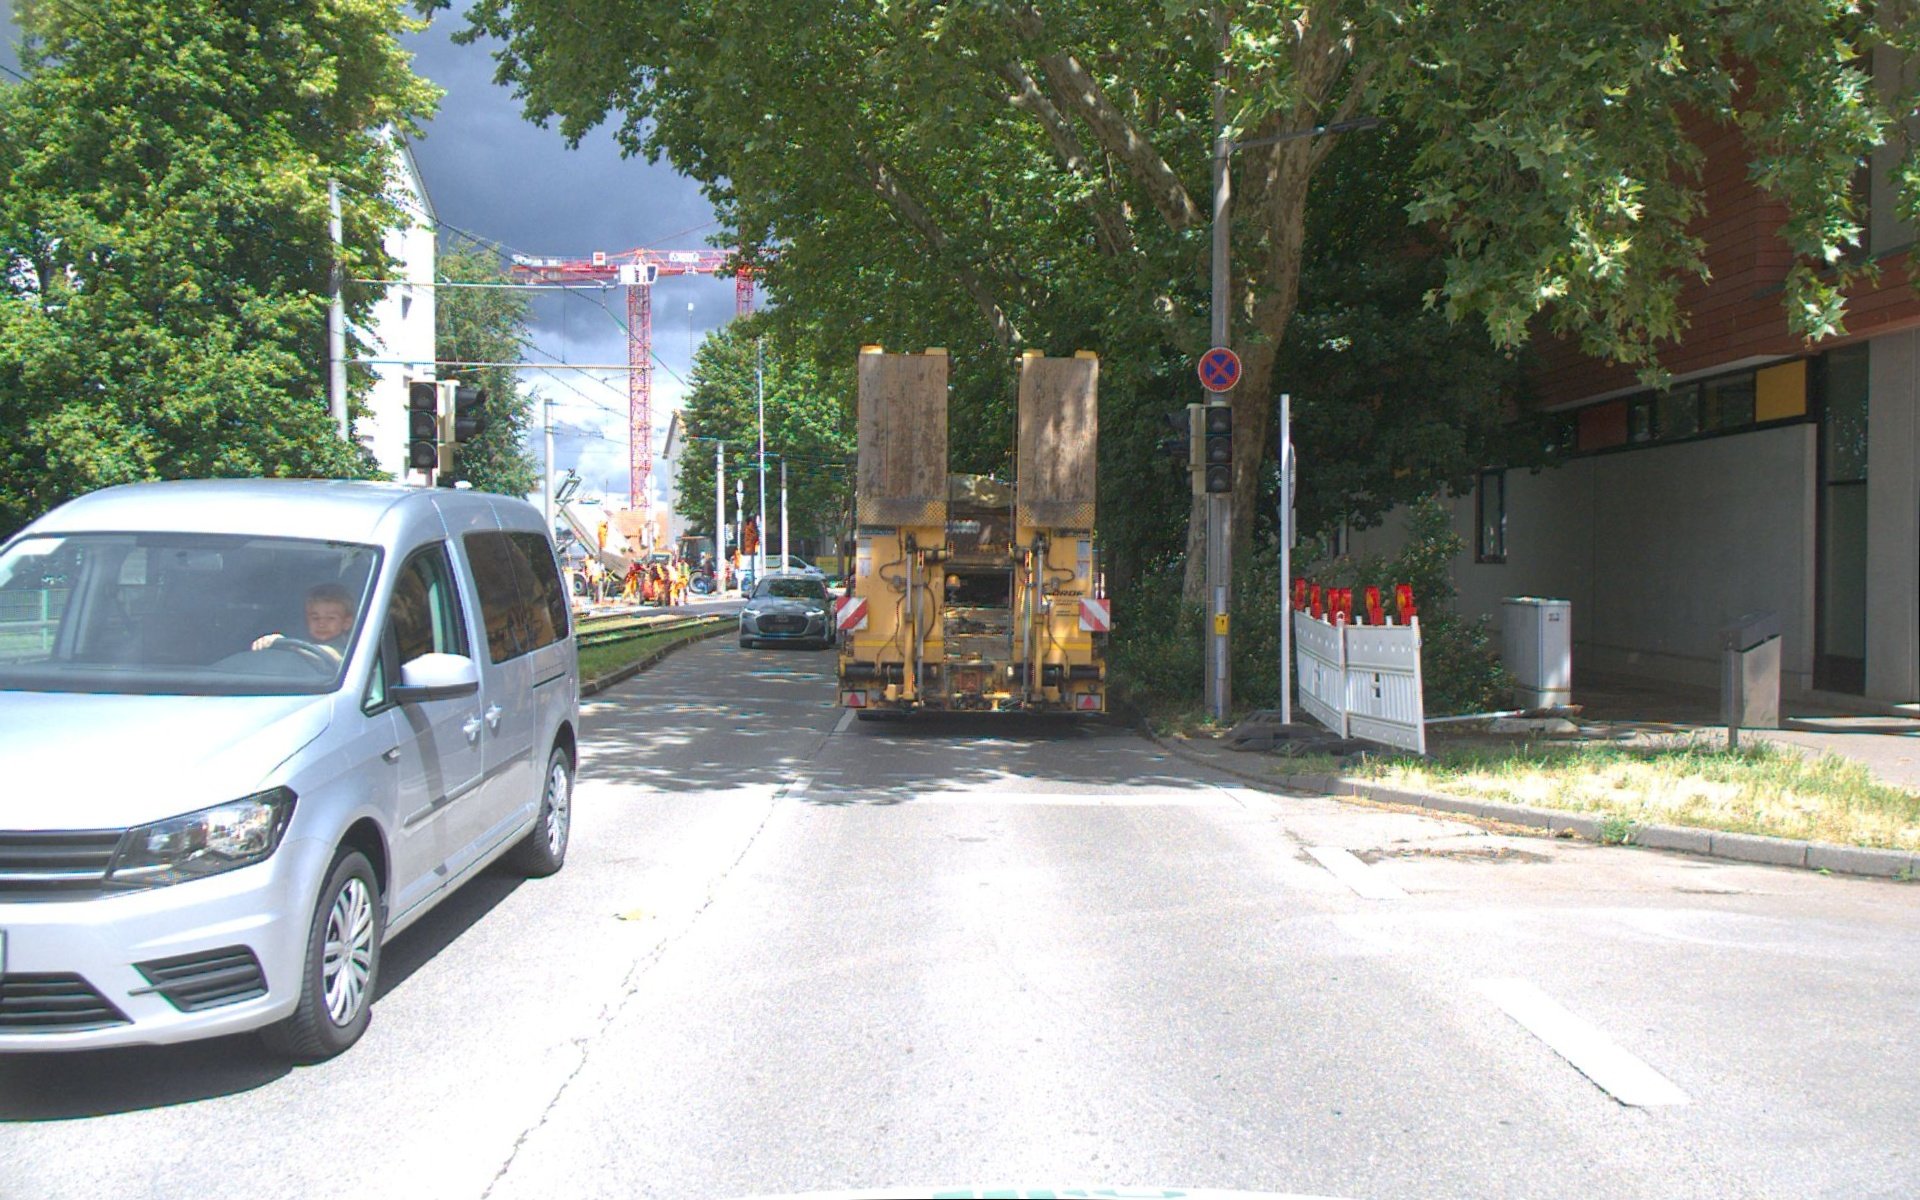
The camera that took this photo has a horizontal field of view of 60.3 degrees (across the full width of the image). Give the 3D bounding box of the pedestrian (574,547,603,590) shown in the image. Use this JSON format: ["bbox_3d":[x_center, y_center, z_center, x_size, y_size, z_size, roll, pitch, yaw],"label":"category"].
[{"bbox_3d":[-14.676,-1.249,65.374,0.876,1.673,0.890,0,1,-31],"label":"pedestrian"}]

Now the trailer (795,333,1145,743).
[{"bbox_3d":[-0.061,-0.638,20.238,3.090,3.614,11.094,0,1,-2],"label":"trailer"}]

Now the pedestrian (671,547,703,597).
[{"bbox_3d":[-10.518,-1.075,63.705,0.868,1.899,0.836,1,1,28],"label":"pedestrian"}]

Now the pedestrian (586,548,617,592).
[{"bbox_3d":[-13.728,-1.144,63.314,0.879,1.673,0.826,0,1,-38],"label":"pedestrian"}]

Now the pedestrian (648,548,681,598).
[{"bbox_3d":[-10.746,-0.983,60.207,0.867,1.791,0.837,1,1,18],"label":"pedestrian"}]

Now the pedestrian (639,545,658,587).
[{"bbox_3d":[-14.192,-1.566,75.381,0.820,1.899,0.886,0,1,-12],"label":"pedestrian"}]

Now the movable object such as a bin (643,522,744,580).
[{"bbox_3d":[-12.667,-2.306,78.574,4.281,2.675,2.218,1,1,26],"label":"movable object such as a bin"}]

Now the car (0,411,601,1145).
[{"bbox_3d":[-2.698,0.420,6.529,1.718,1.872,4.644,0,1,-2],"label":"car"}]

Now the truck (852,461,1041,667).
[{"bbox_3d":[-0.323,-0.625,29.740,2.929,3.189,7.885,0,1,-2],"label":"truck"}]

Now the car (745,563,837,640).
[{"bbox_3d":[-3.359,-0.013,33.368,1.603,1.460,3.850,0,1,-2],"label":"car"}]

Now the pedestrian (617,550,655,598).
[{"bbox_3d":[-12.082,-0.977,61.678,1.103,1.745,0.874,0,1,-45],"label":"pedestrian"}]

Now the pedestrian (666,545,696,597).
[{"bbox_3d":[-10.337,-1.085,61.177,0.876,1.899,0.829,0,1,-29],"label":"pedestrian"}]

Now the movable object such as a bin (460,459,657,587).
[{"bbox_3d":[-18.158,-3.399,74.610,9.021,5.509,2.662,1,1,26],"label":"movable object such as a bin"}]

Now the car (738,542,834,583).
[{"bbox_3d":[-9.639,-2.057,91.380,5.005,2.138,1.969,-2,1,-15],"label":"car"}]

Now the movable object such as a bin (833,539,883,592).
[{"bbox_3d":[-4.015,-1.354,65.265,1.369,2.048,2.559,1,1,10],"label":"movable object such as a bin"}]
